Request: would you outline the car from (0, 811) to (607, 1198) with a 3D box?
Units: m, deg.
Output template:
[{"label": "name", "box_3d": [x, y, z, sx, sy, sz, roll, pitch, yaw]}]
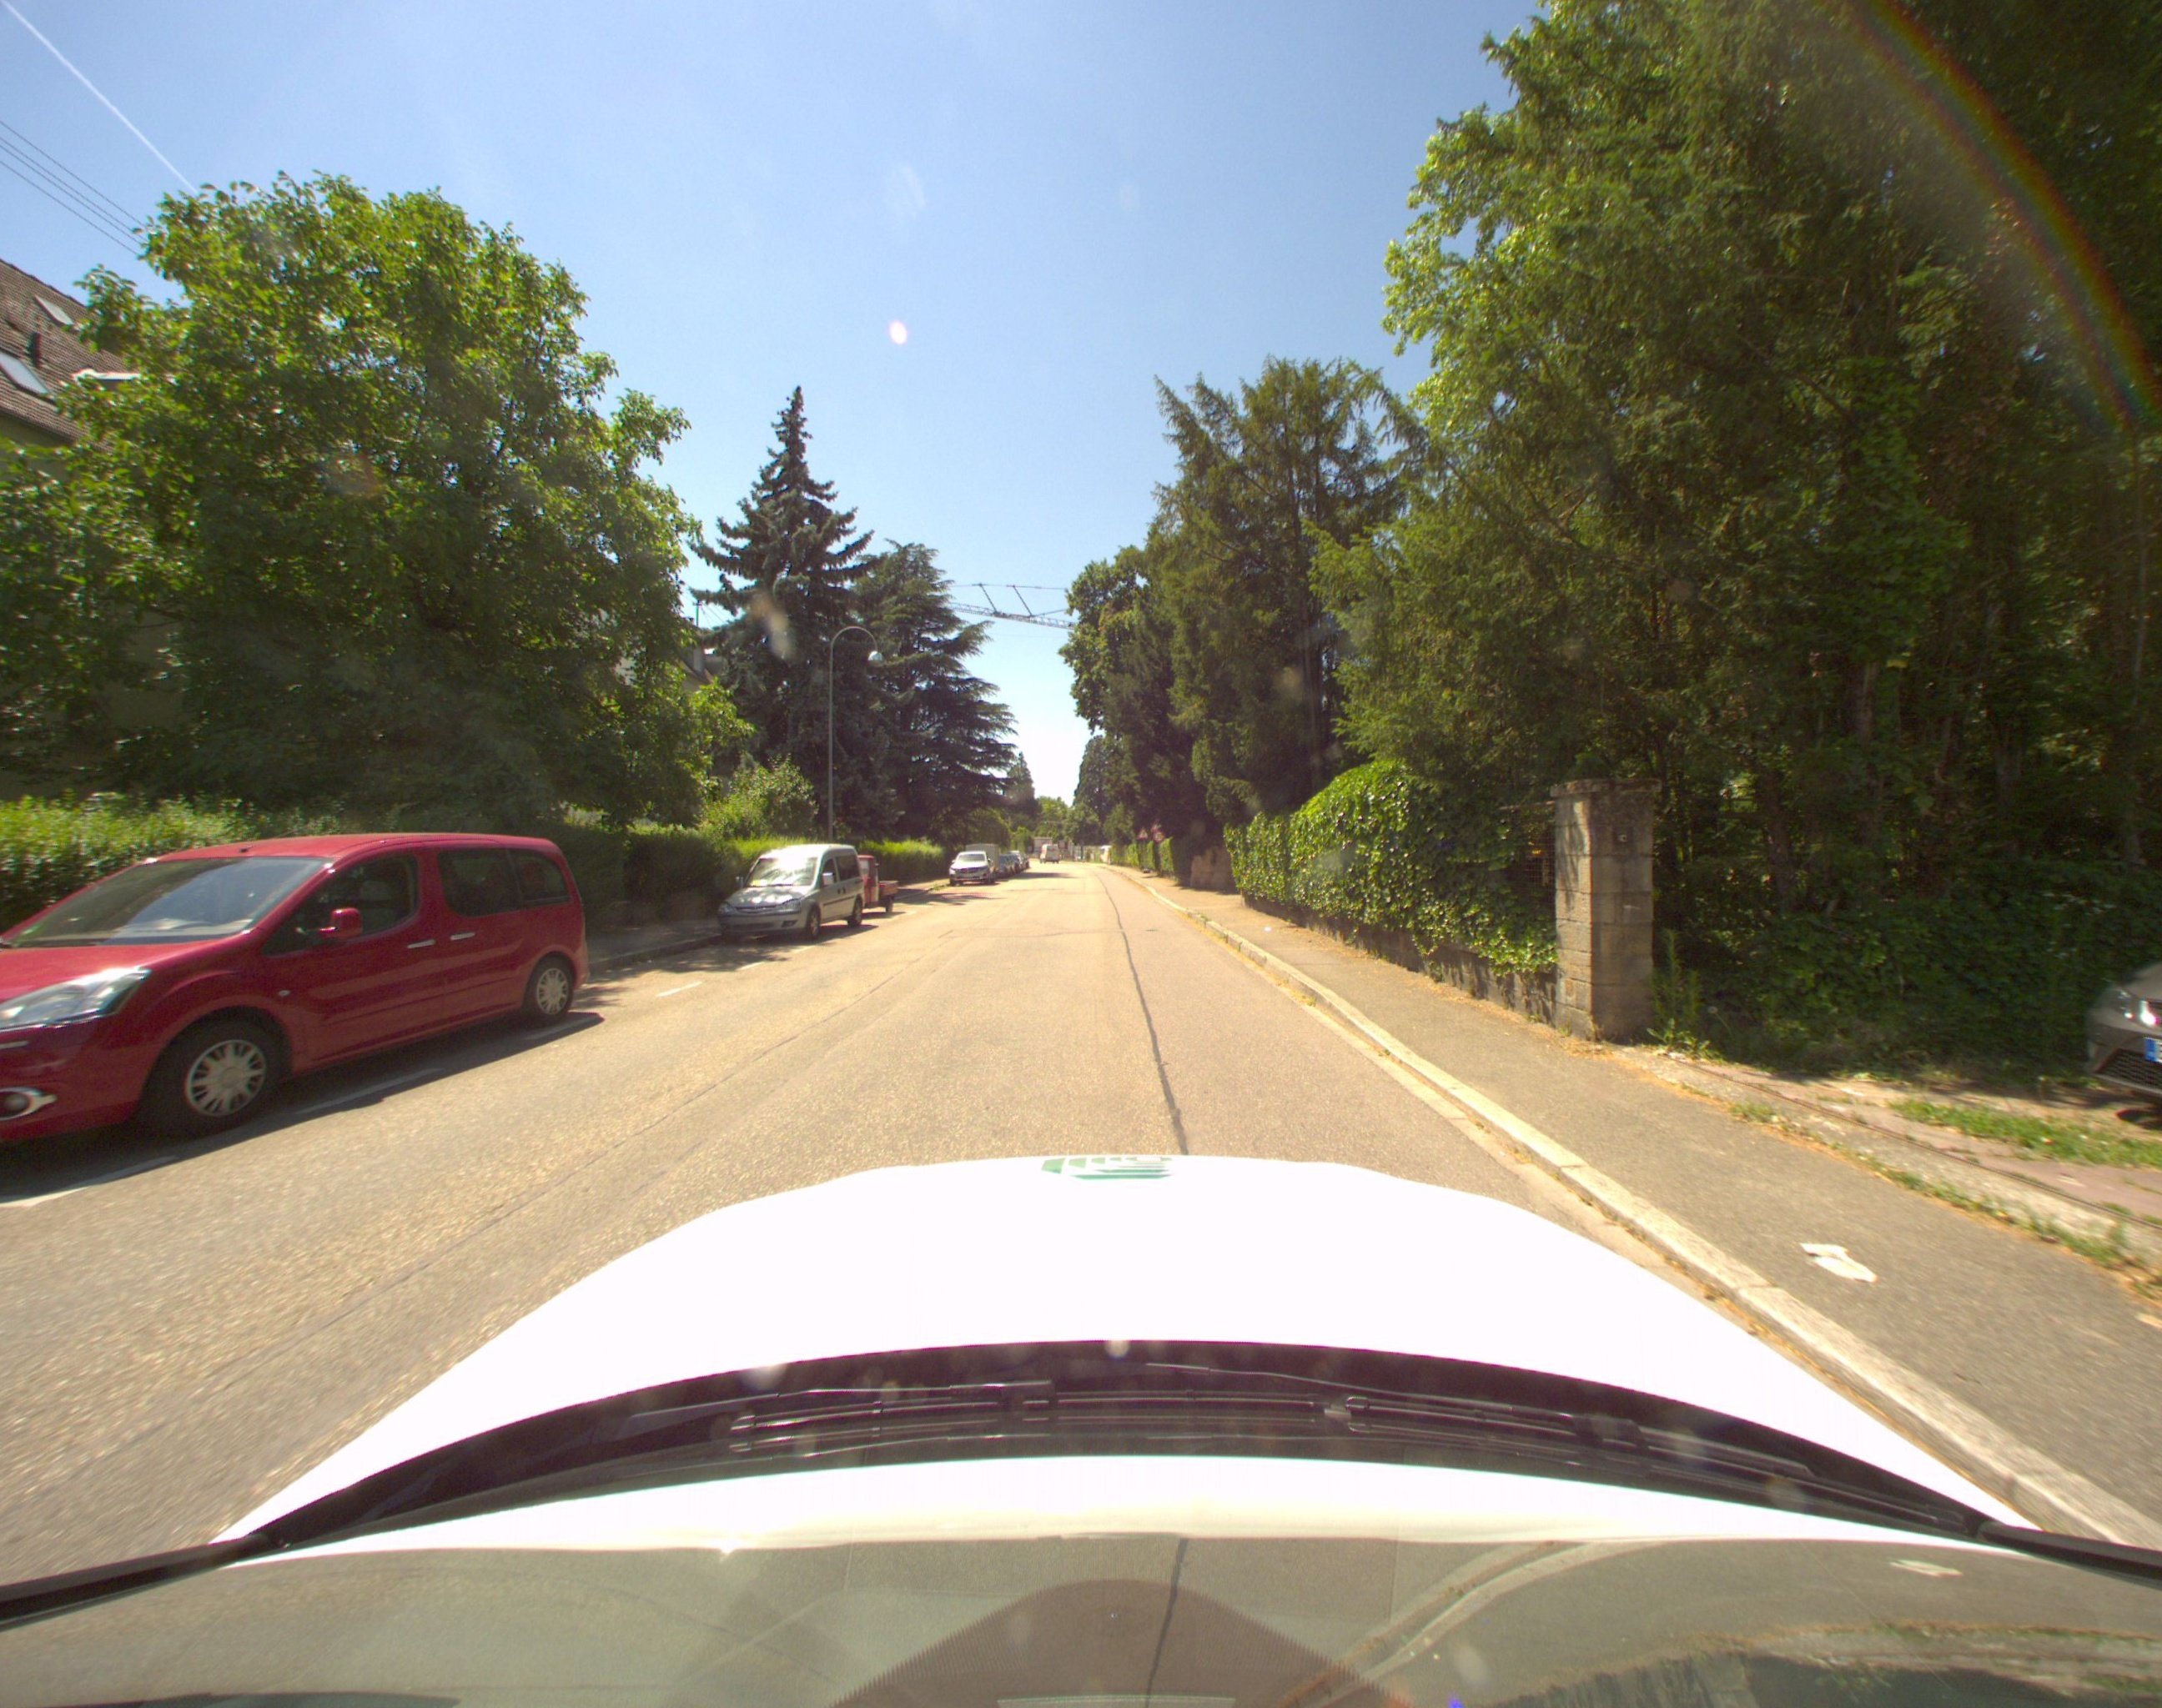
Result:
[{"label": "car", "box_3d": [-5.652, 0.690, 5.859, 1.751, 1.727, 4.459, -2, 0, 1]}]

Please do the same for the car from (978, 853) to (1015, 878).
[{"label": "car", "box_3d": [-5.208, 0.704, 50.586, 1.703, 1.439, 4.322, -2, 0, 1]}]

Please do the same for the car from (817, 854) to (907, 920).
[{"label": "car", "box_3d": [-5.562, 0.786, 20.962, 1.406, 1.503, 2.841, -2, 0, 2]}]

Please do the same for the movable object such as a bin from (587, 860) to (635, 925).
[{"label": "movable object such as a bin", "box_3d": [-9.691, 0.774, 16.803, 0.614, 1.295, 0.721, -1, 0, -9]}]

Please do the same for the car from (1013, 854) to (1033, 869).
[{"label": "car", "box_3d": [-5.841, 0.714, 82.750, 1.682, 1.444, 4.135, -1, 0, 1]}]

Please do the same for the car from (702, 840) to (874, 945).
[{"label": "car", "box_3d": [-5.541, 0.658, 16.026, 1.641, 1.752, 4.356, -1, 0, 2]}]

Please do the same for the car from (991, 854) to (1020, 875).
[{"label": "car", "box_3d": [-5.233, 0.697, 56.514, 1.577, 1.390, 3.883, -1, 0, 1]}]

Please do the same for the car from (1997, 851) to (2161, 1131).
[{"label": "car", "box_3d": [7.248, 0.687, 3.802, 3.844, 1.380, 1.768, 0, 0, 4]}]

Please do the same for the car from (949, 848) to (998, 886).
[{"label": "car", "box_3d": [-5.230, 0.604, 40.267, 1.846, 1.671, 4.709, -2, 0, -1]}]

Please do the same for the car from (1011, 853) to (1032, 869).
[{"label": "car", "box_3d": [-5.627, 0.684, 77.559, 1.682, 1.444, 4.135, -1, 0, 1]}]

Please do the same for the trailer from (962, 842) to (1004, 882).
[{"label": "trailer", "box_3d": [-5.327, 0.424, 44.710, 1.842, 2.040, 4.161, -2, 0, -1]}]

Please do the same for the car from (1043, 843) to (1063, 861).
[{"label": "car", "box_3d": [-3.860, -0.273, 111.815, 2.143, 2.315, 4.838, -2, 0, -9]}]

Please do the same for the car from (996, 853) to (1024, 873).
[{"label": "car", "box_3d": [-5.336, 0.681, 61.769, 1.682, 1.444, 4.136, -1, 0, 1]}]
